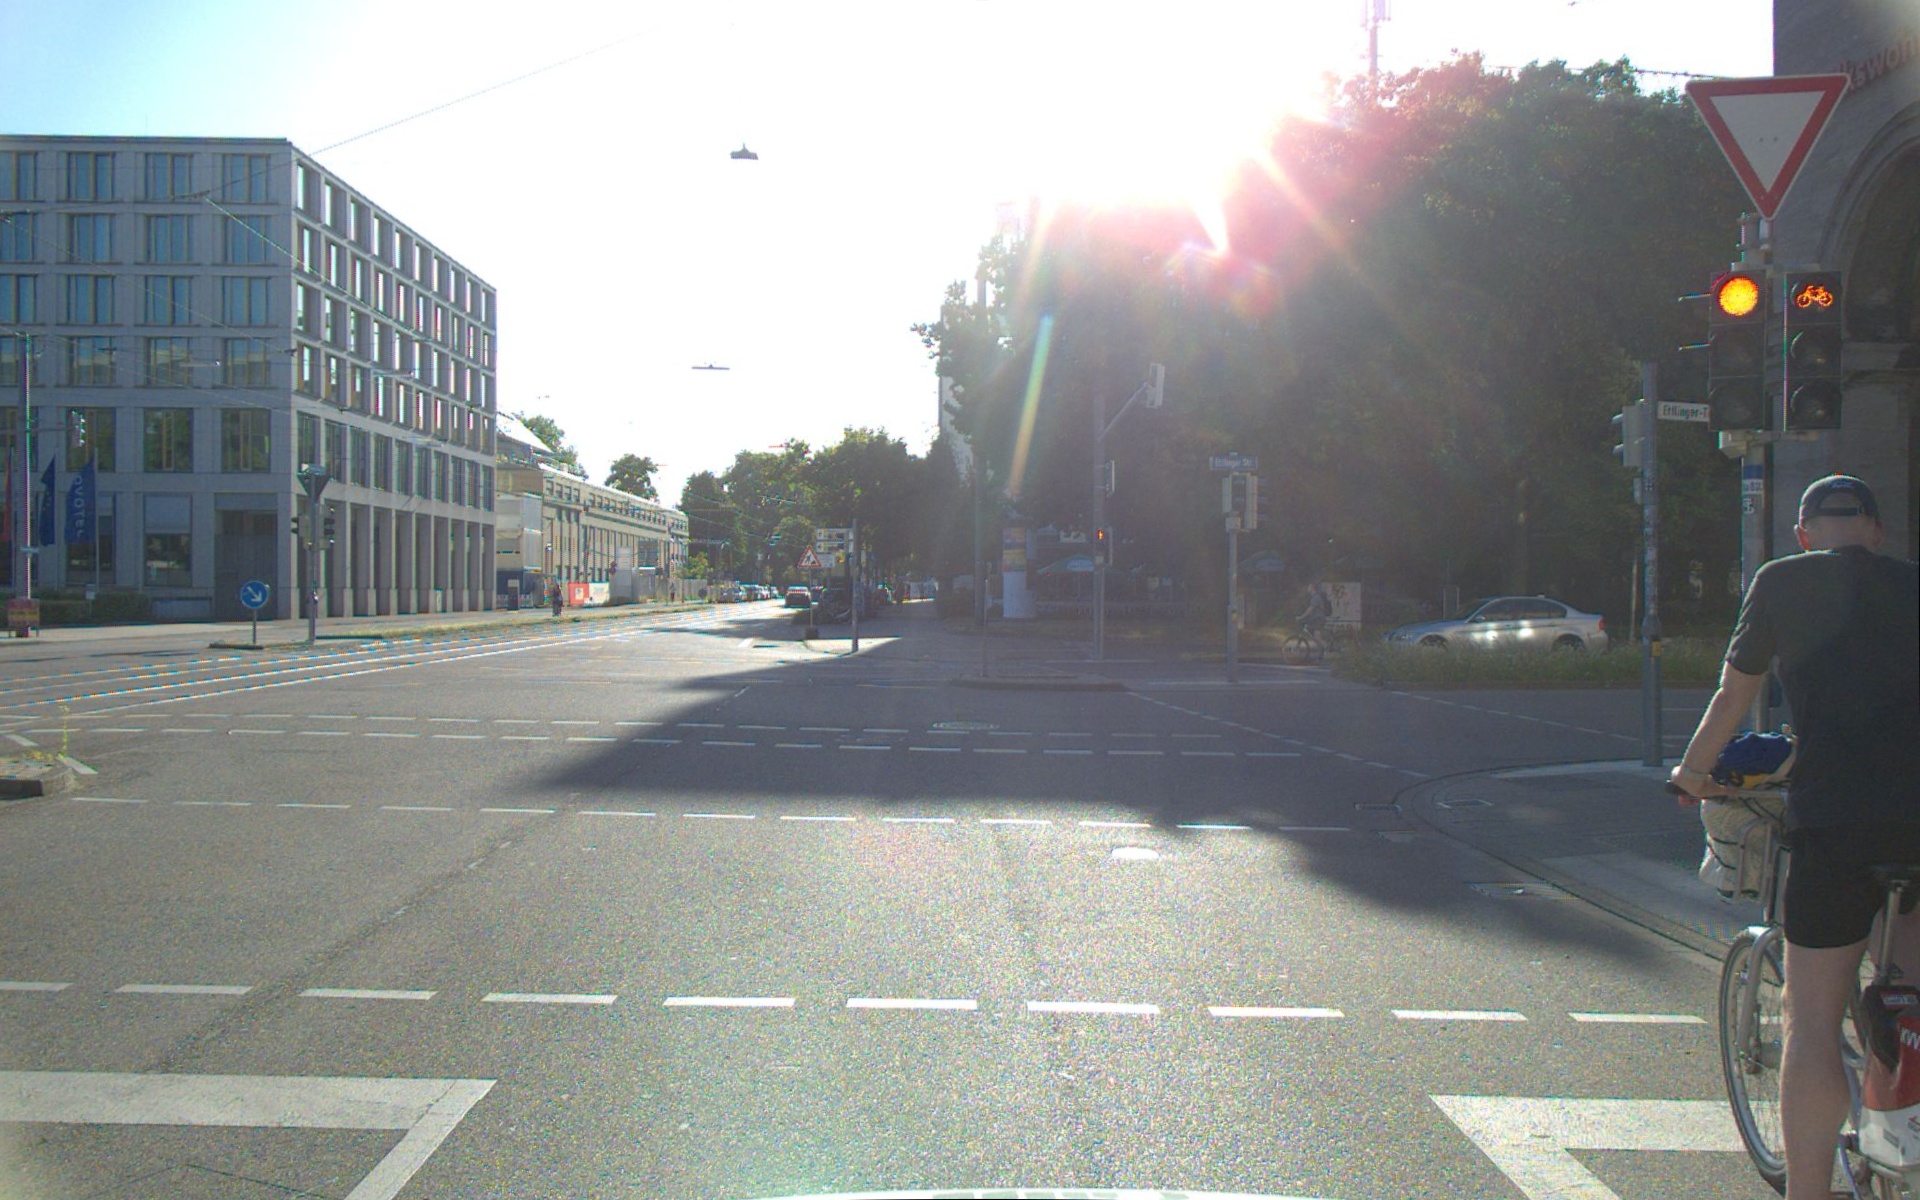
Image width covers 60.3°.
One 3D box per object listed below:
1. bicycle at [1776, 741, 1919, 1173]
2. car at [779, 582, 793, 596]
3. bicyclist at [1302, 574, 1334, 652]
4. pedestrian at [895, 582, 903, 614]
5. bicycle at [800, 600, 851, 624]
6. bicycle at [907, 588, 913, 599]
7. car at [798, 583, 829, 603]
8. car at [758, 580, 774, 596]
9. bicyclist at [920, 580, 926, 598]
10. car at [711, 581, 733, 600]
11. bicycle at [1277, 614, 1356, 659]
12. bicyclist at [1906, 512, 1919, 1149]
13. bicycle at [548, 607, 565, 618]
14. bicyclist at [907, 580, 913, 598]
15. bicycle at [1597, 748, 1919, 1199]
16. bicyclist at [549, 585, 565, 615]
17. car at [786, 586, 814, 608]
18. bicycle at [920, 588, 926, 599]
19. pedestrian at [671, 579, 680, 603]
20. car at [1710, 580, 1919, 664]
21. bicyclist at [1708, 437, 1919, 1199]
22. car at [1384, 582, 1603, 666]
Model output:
[{"bbox_3d":[2.858,0.999,4.329,0.523,1.096,1.750,1,0,-2],"label":"bicycle"},{"bbox_3d":[-22.637,-1.399,214.998,1.659,1.748,4.244,1,0,-4],"label":"car"},{"bbox_3d":[7.877,0.285,36.416,0.630,1.712,0.507,0,0,5],"label":"bicyclist"},{"bbox_3d":[-3.611,-0.108,97.657,0.454,1.845,0.502,0,0,-5],"label":"pedestrian"},{"bbox_3d":[-5.486,0.508,67.375,1.976,0.907,0.650,-2,-1,27],"label":"bicycle"},{"bbox_3d":[-4.942,-0.651,162.713,0.563,1.096,1.830,0,0,-1],"label":"bicycle"},{"bbox_3d":[-12.451,-0.574,140.585,1.853,1.592,4.810,3,1,3],"label":"car"},{"bbox_3d":[-22.824,-1.430,194.354,1.659,1.748,4.244,1,0,-4],"label":"car"},{"bbox_3d":[-3.664,-1.084,163.099,0.558,1.721,0.699,0,0,-1],"label":"bicyclist"},{"bbox_3d":[-22.467,-0.893,156.105,1.659,1.748,4.244,1,0,-4],"label":"car"},{"bbox_3d":[7.843,0.795,36.411,1.631,0.980,0.534,0,0,5],"label":"bicycle"},{"bbox_3d":[2.883,0.627,4.222,0.546,1.721,0.640,1,0,-2],"label":"bicyclist"},{"bbox_3d":[-19.058,0.581,78.096,0.491,0.524,1.257,1,0,-1],"label":"bicycle"},{"bbox_3d":[-4.942,-1.055,162.599,0.558,1.721,0.699,0,0,-1],"label":"bicyclist"},{"bbox_3d":[2.071,0.980,3.881,0.505,1.096,1.728,1,0,1],"label":"bicycle"},{"bbox_3d":[-19.031,-0.013,78.103,0.584,1.401,0.637,1,-1,-2],"label":"bicyclist"},{"bbox_3d":[-11.387,-0.204,117.738,1.626,1.481,4.431,1,0,-2],"label":"car"},{"bbox_3d":[-3.657,-0.629,163.108,0.563,1.096,1.830,0,0,-1],"label":"bicycle"},{"bbox_3d":[-24.903,-0.780,144.999,0.660,2.049,0.751,1,-1,-3],"label":"pedestrian"},{"bbox_3d":[17.531,0.432,33.698,3.770,1.639,1.650,0,0,-1],"label":"car"},{"bbox_3d":[2.089,0.578,3.723,0.547,1.830,0.550,1,0,1],"label":"bicyclist"},{"bbox_3d":[10.771,0.476,33.553,3.912,1.639,1.650,0,0,-1],"label":"car"}]
